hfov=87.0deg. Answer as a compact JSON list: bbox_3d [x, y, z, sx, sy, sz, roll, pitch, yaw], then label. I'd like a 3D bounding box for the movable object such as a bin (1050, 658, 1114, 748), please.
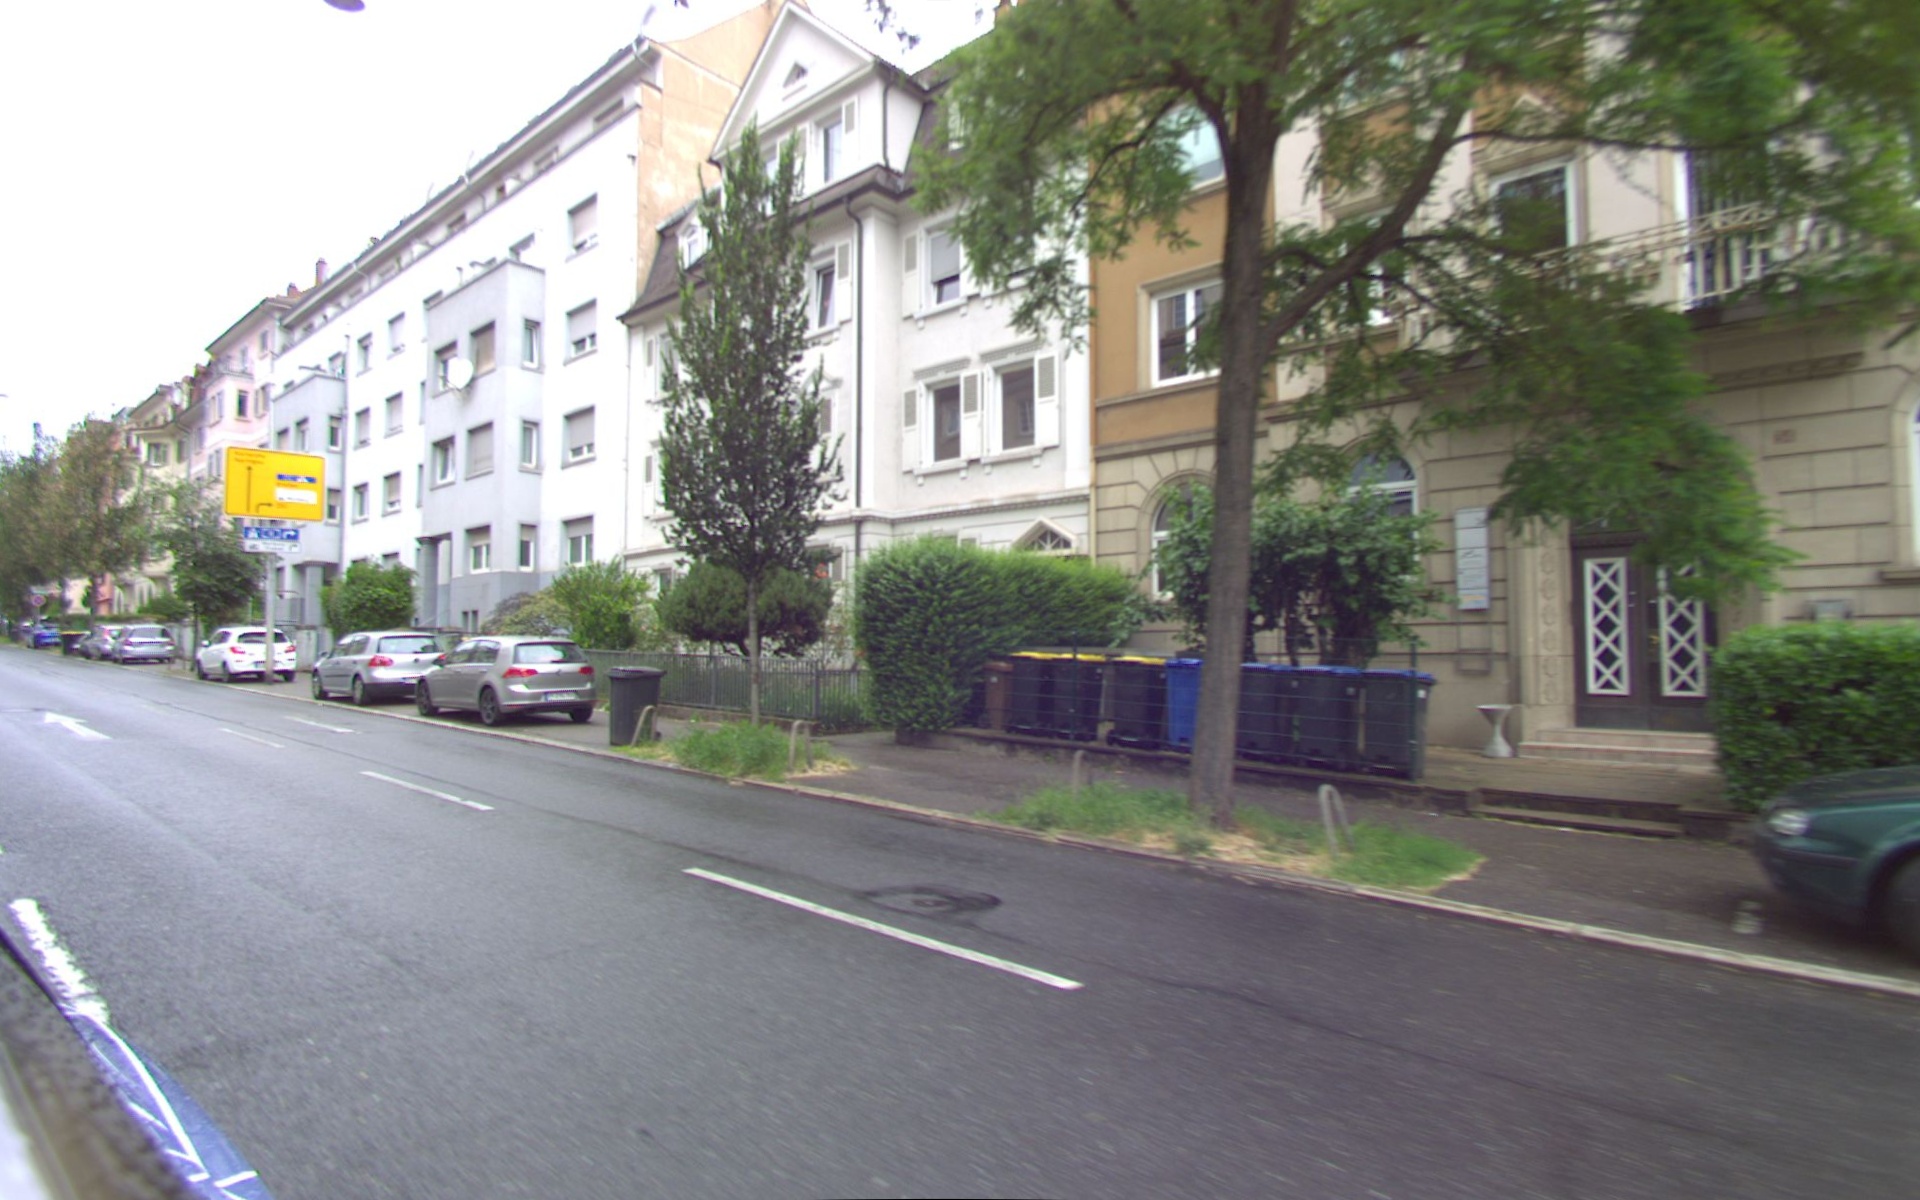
[{"bbox_3d":[1.494,1.246,12.414,0.649,1.047,0.435,-1,-3,41],"label":"movable object such as a bin"}]

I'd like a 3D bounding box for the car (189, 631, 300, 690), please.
[{"bbox_3d":[-19.982,1.622,28.213,3.794,1.519,1.629,-1,-2,41],"label":"car"}]

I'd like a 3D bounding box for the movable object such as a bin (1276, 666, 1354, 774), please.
[{"bbox_3d":[3.681,1.224,10.498,0.650,1.049,0.422,-1,-3,41],"label":"movable object such as a bin"}]

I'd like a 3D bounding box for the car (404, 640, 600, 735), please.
[{"bbox_3d":[-7.995,1.424,17.519,3.935,1.401,1.664,-1,-2,42],"label":"car"}]

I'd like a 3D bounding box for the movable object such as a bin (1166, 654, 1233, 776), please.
[{"bbox_3d":[2.704,1.277,11.438,0.609,1.319,0.435,-1,-3,41],"label":"movable object such as a bin"}]

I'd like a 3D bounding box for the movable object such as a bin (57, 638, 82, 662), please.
[{"bbox_3d":[-41.273,2.298,46.917,0.483,1.066,0.816,0,1,43],"label":"movable object such as a bin"}]

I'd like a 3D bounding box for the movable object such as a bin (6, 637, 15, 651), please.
[{"bbox_3d":[-60.597,2.789,64.576,0.572,0.896,0.360,-1,-1,41],"label":"movable object such as a bin"}]

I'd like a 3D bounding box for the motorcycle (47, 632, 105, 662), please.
[{"bbox_3d":[-39.285,2.082,44.975,1.783,1.325,0.743,1,-2,-7],"label":"motorcycle"}]

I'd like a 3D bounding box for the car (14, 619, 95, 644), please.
[{"bbox_3d":[-73.824,2.522,82.572,1.917,1.919,4.671,0,-1,40],"label":"car"}]

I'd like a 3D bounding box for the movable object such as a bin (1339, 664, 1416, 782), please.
[{"bbox_3d":[4.091,1.186,9.926,0.589,1.089,0.435,-1,-3,41],"label":"movable object such as a bin"}]

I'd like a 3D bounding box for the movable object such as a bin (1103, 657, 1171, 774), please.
[{"bbox_3d":[2.080,1.336,11.904,0.649,1.319,0.435,-1,-3,41],"label":"movable object such as a bin"}]

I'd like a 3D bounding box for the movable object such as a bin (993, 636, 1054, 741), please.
[{"bbox_3d":[0.819,1.119,13.065,0.649,1.309,0.435,-1,-3,41],"label":"movable object such as a bin"}]

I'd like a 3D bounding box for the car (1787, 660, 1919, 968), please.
[{"bbox_3d":[6.329,1.062,4.609,3.939,1.465,1.637,-1,-3,40],"label":"car"}]

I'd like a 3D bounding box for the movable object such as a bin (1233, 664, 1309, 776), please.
[{"bbox_3d":[3.325,1.261,10.834,0.657,1.139,0.435,-2,-3,41],"label":"movable object such as a bin"}]

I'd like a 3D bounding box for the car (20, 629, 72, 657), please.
[{"bbox_3d":[-50.889,2.382,56.332,4.602,1.396,1.661,0,-2,42],"label":"car"}]

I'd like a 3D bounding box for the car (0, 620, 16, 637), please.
[{"bbox_3d":[-106.822,3.151,111.565,1.866,1.861,3.880,0,0,39],"label":"car"}]

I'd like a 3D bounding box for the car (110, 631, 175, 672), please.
[{"bbox_3d":[-31.631,1.956,39.116,1.582,1.462,3.890,0,-1,-44],"label":"car"}]

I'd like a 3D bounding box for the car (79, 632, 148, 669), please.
[{"bbox_3d":[-35.252,2.067,42.117,3.886,1.407,1.584,0,-2,41],"label":"car"}]

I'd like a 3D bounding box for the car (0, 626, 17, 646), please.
[{"bbox_3d":[-71.944,2.643,75.732,4.137,1.428,1.663,-1,-3,42],"label":"car"}]

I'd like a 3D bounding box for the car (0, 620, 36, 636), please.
[{"bbox_3d":[-104.011,3.057,110.908,1.592,1.634,3.877,0,-3,42],"label":"car"}]

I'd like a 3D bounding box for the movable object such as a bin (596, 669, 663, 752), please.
[{"bbox_3d":[-4.533,1.493,13.891,0.600,1.066,0.623,0,-2,42],"label":"movable object such as a bin"}]

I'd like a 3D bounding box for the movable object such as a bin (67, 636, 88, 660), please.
[{"bbox_3d":[-40.273,2.177,46.179,0.480,1.066,0.522,0,1,20],"label":"movable object such as a bin"}]

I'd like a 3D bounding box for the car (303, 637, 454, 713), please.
[{"bbox_3d":[-12.293,1.515,21.302,3.908,1.401,1.664,-1,-2,42],"label":"car"}]
